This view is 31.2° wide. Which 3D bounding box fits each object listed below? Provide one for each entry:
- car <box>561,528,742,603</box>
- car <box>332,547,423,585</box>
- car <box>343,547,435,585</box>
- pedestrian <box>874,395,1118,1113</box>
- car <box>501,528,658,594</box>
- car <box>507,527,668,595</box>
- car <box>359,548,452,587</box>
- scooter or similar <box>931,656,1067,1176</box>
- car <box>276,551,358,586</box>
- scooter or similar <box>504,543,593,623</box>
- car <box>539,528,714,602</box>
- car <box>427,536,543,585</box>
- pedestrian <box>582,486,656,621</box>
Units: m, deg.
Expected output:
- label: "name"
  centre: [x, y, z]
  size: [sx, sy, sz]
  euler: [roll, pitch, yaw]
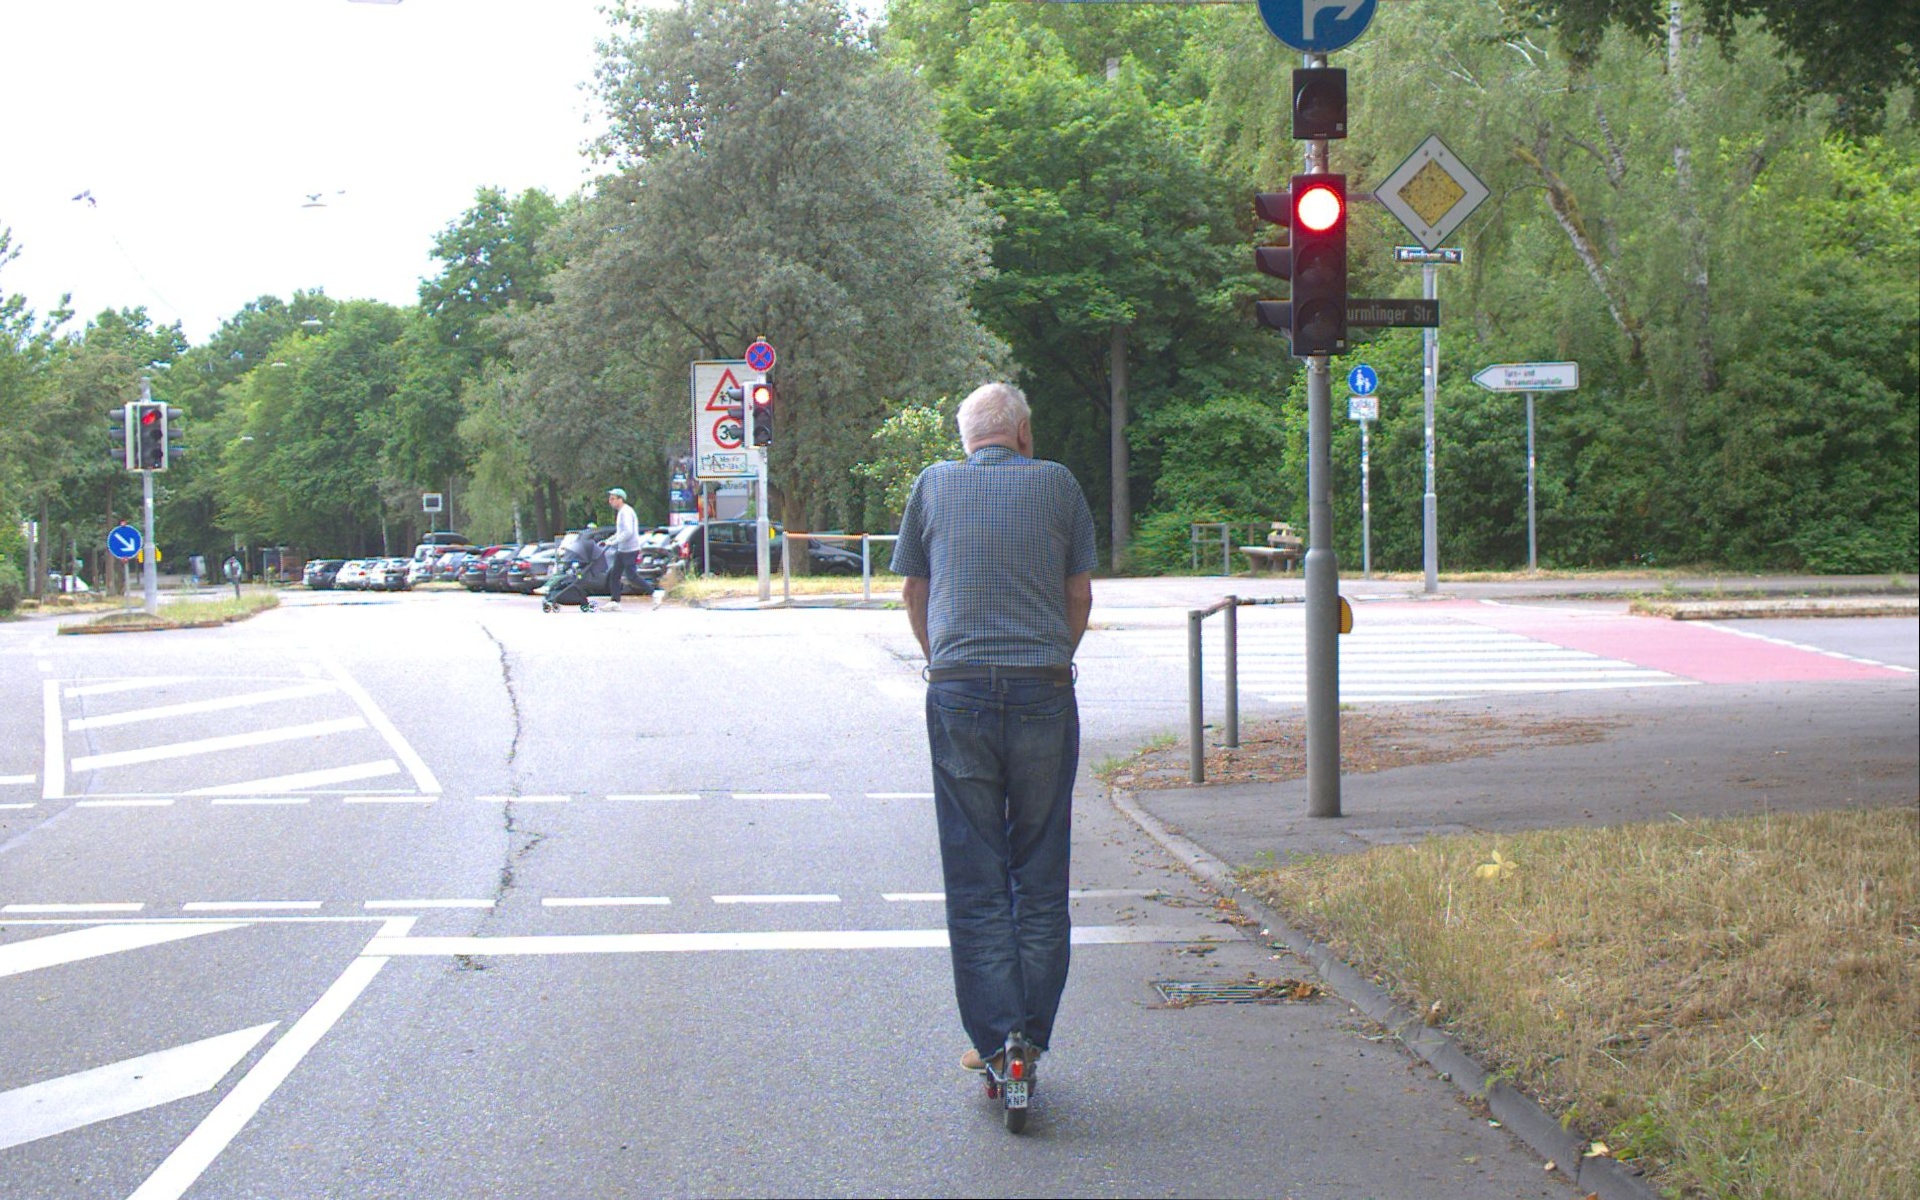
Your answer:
- label: "car"
  centre: [-7.274, -0.820, 81.037]
  size: [3.841, 1.605, 1.728]
  euler: [-3, 2, -25]
- label: "car"
  centre: [-27.584, -1.625, 162.795]
  size: [3.841, 1.605, 1.728]
  euler: [-3, 2, -23]
- label: "car"
  centre: [-26.608, -1.580, 160.237]
  size: [3.841, 1.605, 1.728]
  euler: [-3, 2, -23]
- label: "pedestrian"
  centre: [0.094, 0.387, 8.919]
  size: [0.572, 1.807, 0.420]
  euler: [-1, 1, 1]
- label: "car"
  centre: [-10.327, -1.074, 93.300]
  size: [3.841, 1.605, 1.728]
  euler: [-3, 2, -23]
- label: "car"
  centre: [-9.855, -1.038, 90.893]
  size: [3.841, 1.605, 1.728]
  euler: [-3, 2, -23]
- label: "car"
  centre: [-25.505, -1.496, 158.119]
  size: [3.841, 1.605, 1.728]
  euler: [-3, 2, -23]
- label: "scooter or similar"
  centre: [0.110, 0.755, 8.694]
  size: [0.282, 1.174, 1.177]
  euler: [-1, 1, 2]
- label: "car"
  centre: [-33.500, -1.645, 179.026]
  size: [3.841, 1.605, 1.728]
  euler: [-3, 2, -23]
- label: "scooter or similar"
  centre: [-5.748, -0.246, 47.987]
  size: [1.107, 1.077, 0.578]
  euler: [-2, 1, -18]
- label: "car"
  centre: [-8.109, -0.859, 83.568]
  size: [3.841, 1.605, 1.728]
  euler: [-3, 2, -23]
- label: "car"
  centre: [-17.416, -1.450, 126.042]
  size: [3.841, 1.605, 1.728]
  euler: [-3, 2, -23]
- label: "pedestrian"
  centre: [-4.789, -0.657, 48.289]
  size: [0.883, 1.856, 0.574]
  euler: [-2, 1, -17]
